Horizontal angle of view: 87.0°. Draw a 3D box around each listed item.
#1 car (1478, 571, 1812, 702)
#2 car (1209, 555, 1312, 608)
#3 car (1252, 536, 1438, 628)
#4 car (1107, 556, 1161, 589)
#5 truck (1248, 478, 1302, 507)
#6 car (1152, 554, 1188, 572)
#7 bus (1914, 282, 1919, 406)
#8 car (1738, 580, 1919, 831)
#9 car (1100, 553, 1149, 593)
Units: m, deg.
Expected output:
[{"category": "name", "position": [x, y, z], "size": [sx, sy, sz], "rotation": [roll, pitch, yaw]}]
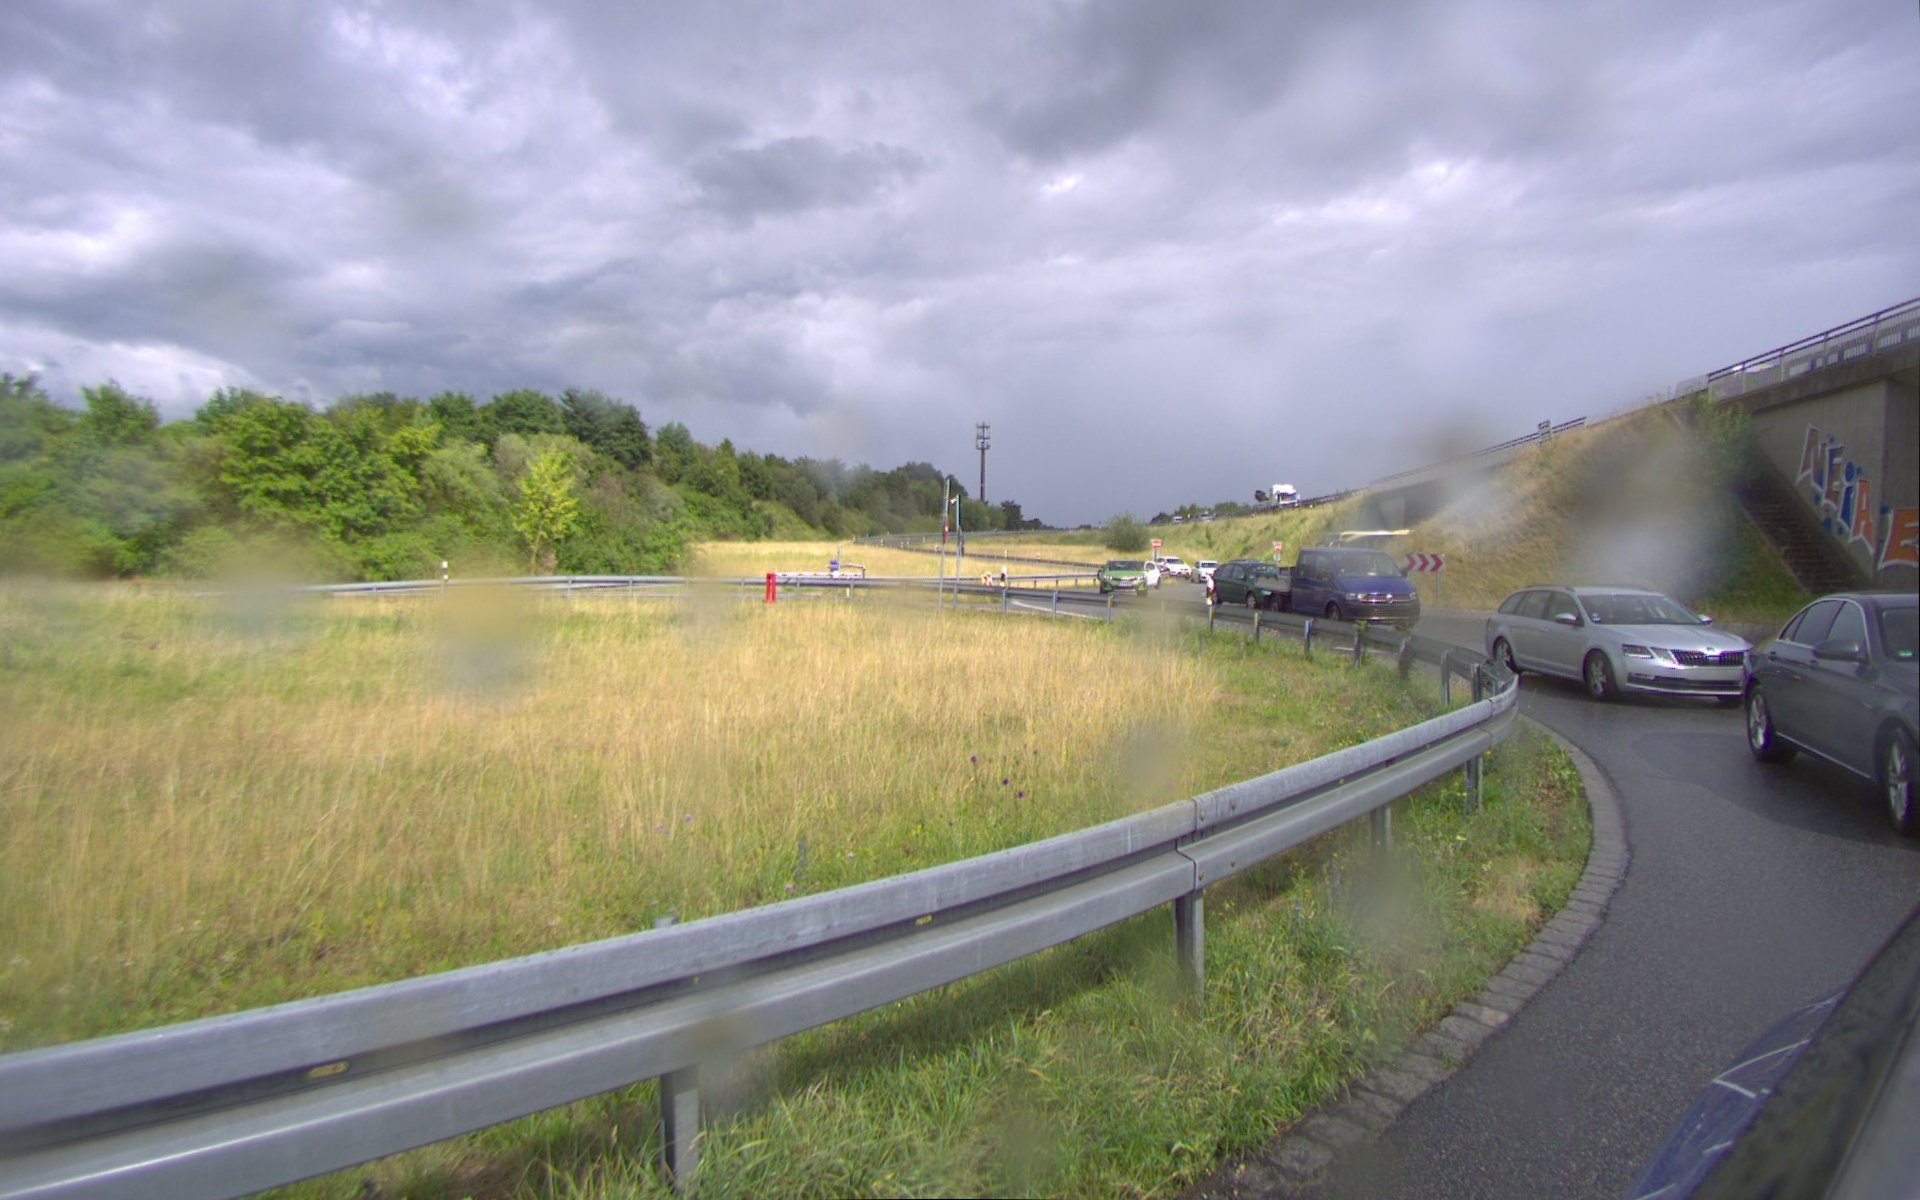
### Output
[{"category": "car", "position": [9.073, 0.364, 13.940], "size": [1.765, 1.415, 4.348], "rotation": [-1, 3, 2]}, {"category": "car", "position": [9.179, -0.626, 31.229], "size": [1.624, 1.492, 3.853], "rotation": [0, 3, -7]}, {"category": "car", "position": [9.242, -0.562, 24.940], "size": [1.855, 1.937, 5.693], "rotation": [0, 4, -6]}, {"category": "car", "position": [8.620, -1.401, 49.915], "size": [1.603, 1.492, 3.896], "rotation": [2, 3, 26]}, {"category": "truck", "position": [39.717, -13.539, 128.015], "size": [3.097, 3.232, 9.296], "rotation": [-1, 3, -6]}, {"category": "car", "position": [15.628, -2.779, 75.376], "size": [1.678, 1.305, 3.779], "rotation": [0, 3, -3]}, {"category": "bus", "position": [24.226, -6.114, 18.619], "size": [2.573, 3.116, 14.419], "rotation": [0, 3, 12]}, {"category": "car", "position": [6.967, 0.603, 6.813], "size": [1.753, 1.408, 4.552], "rotation": [1, 2, 25]}, {"category": "car", "position": [6.547, -1.114, 40.601], "size": [1.589, 1.492, 3.844], "rotation": [1, 3, 4]}]
